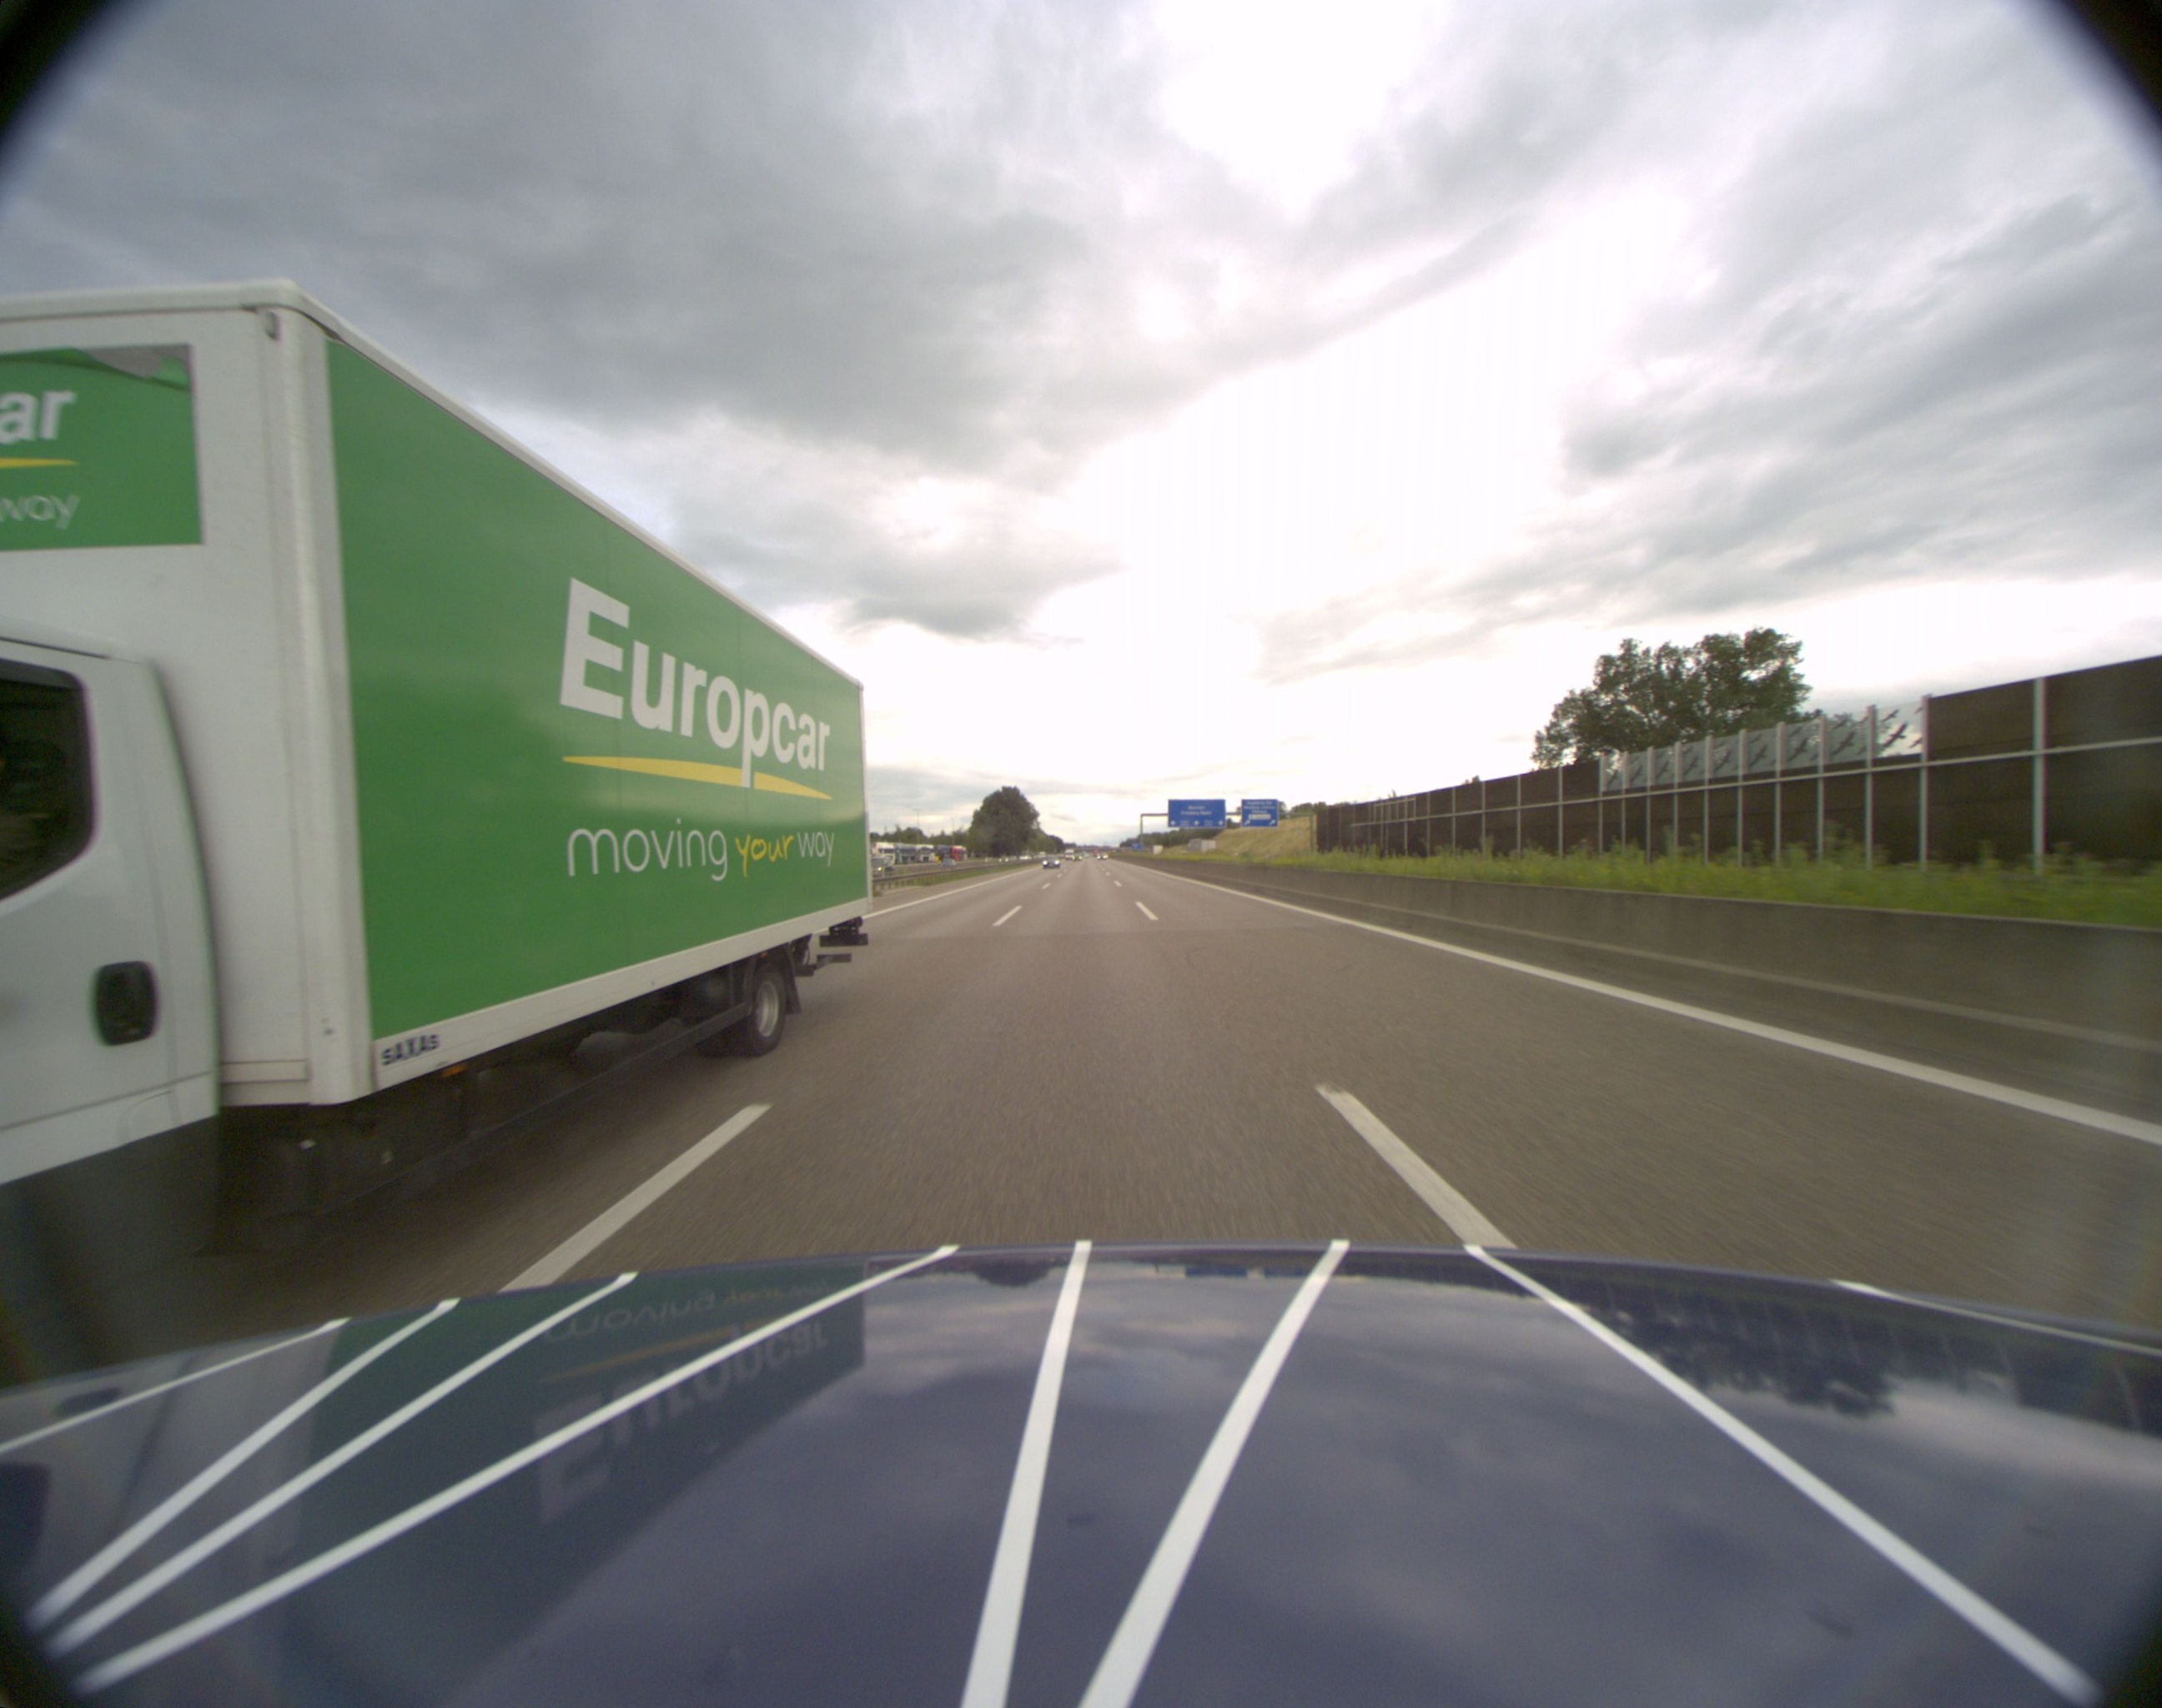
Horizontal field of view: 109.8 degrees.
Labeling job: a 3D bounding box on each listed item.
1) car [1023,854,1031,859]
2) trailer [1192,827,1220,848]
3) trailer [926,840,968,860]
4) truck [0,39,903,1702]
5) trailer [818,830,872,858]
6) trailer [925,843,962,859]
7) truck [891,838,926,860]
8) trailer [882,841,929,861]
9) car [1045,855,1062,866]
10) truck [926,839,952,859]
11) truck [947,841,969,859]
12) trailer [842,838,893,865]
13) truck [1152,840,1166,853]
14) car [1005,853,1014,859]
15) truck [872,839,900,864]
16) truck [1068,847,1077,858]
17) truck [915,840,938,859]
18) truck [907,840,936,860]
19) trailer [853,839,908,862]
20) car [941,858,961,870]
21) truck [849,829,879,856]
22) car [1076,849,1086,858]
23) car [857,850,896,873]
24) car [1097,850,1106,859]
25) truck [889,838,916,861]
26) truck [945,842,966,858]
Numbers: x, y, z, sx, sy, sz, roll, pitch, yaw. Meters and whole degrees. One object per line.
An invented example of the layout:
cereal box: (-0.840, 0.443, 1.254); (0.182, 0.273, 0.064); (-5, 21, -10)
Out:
car: (-14.439, 0.663, 202.965); (1.828, 1.236, 3.878); (-1, 0, 1)
trailer: (22.071, -2.827, 134.703); (2.827, 3.357, 13.509); (-1, 0, 1)
trailer: (-36.009, -1.060, 203.547); (2.869, 4.651, 15.768); (-4, 1, -43)
truck: (-3.616, 0.019, 4.422); (2.777, 3.484, 9.061); (-2, 0, 1)
trailer: (-40.034, -1.641, 128.653); (2.618, 4.051, 13.507); (-4, 1, -44)
trailer: (-38.361, -0.844, 211.327); (2.668, 4.089, 14.031); (-4, 1, -43)
truck: (-35.792, -0.985, 157.388); (3.554, 4.061, 7.635); (-4, 1, -42)
trailer: (-39.467, -0.626, 170.439); (2.860, 4.081, 15.848); (-4, 1, -42)
car: (-3.116, 0.677, 86.523); (1.781, 1.180, 4.000); (-1, 0, 1)
truck: (-33.768, -1.105, 180.596); (3.174, 4.531, 6.070); (-4, 1, -43)
truck: (-32.299, -0.981, 199.547); (2.883, 4.598, 5.158); (-4, 1, -44)
trailer: (-39.146, -0.359, 138.949); (2.482, 4.370, 14.105); (-4, 1, -43)
truck: (23.013, -2.267, 224.800); (3.267, 3.582, 10.934); (-1, 0, 0)
car: (-14.795, 0.394, 157.212); (1.465, 1.208, 4.000); (-1, 0, 1)
truck: (-34.343, -0.440, 133.867); (2.516, 4.303, 4.892); (-4, 1, -44)
truck: (-1.994, -0.296, 184.856); (1.998, 2.482, 5.869); (-3, 1, 1)
truck: (-34.587, -0.992, 170.112); (2.701, 4.032, 4.785); (-4, 1, -40)
truck: (-34.767, -0.781, 165.165); (2.891, 4.111, 6.953); (-4, 1, -42)
trailer: (-39.398, -0.584, 148.771); (14.656, 4.061, 2.663); (-2, 1, 43)
car: (-16.321, 1.245, 95.706); (1.796, 1.251, 3.545); (-3, 1, 0)
truck: (-35.524, -1.818, 124.153); (4.521, 4.111, 2.619); (-2, 1, 43)
car: (0.085, -0.122, 162.381); (1.998, 2.002, 4.000); (-1, 1, 1)
car: (-16.511, 0.601, 61.605); (1.832, 1.746, 4.594); (-1, 0, 1)
car: (4.659, 0.174, 175.791); (1.998, 2.002, 4.000); (-1, 1, 1)
truck: (-33.782, -0.817, 143.498); (4.782, 4.108, 2.646); (-2, 1, 44)
truck: (-34.154, -1.015, 206.757); (2.674, 4.125, 5.915); (-4, 1, -42)
